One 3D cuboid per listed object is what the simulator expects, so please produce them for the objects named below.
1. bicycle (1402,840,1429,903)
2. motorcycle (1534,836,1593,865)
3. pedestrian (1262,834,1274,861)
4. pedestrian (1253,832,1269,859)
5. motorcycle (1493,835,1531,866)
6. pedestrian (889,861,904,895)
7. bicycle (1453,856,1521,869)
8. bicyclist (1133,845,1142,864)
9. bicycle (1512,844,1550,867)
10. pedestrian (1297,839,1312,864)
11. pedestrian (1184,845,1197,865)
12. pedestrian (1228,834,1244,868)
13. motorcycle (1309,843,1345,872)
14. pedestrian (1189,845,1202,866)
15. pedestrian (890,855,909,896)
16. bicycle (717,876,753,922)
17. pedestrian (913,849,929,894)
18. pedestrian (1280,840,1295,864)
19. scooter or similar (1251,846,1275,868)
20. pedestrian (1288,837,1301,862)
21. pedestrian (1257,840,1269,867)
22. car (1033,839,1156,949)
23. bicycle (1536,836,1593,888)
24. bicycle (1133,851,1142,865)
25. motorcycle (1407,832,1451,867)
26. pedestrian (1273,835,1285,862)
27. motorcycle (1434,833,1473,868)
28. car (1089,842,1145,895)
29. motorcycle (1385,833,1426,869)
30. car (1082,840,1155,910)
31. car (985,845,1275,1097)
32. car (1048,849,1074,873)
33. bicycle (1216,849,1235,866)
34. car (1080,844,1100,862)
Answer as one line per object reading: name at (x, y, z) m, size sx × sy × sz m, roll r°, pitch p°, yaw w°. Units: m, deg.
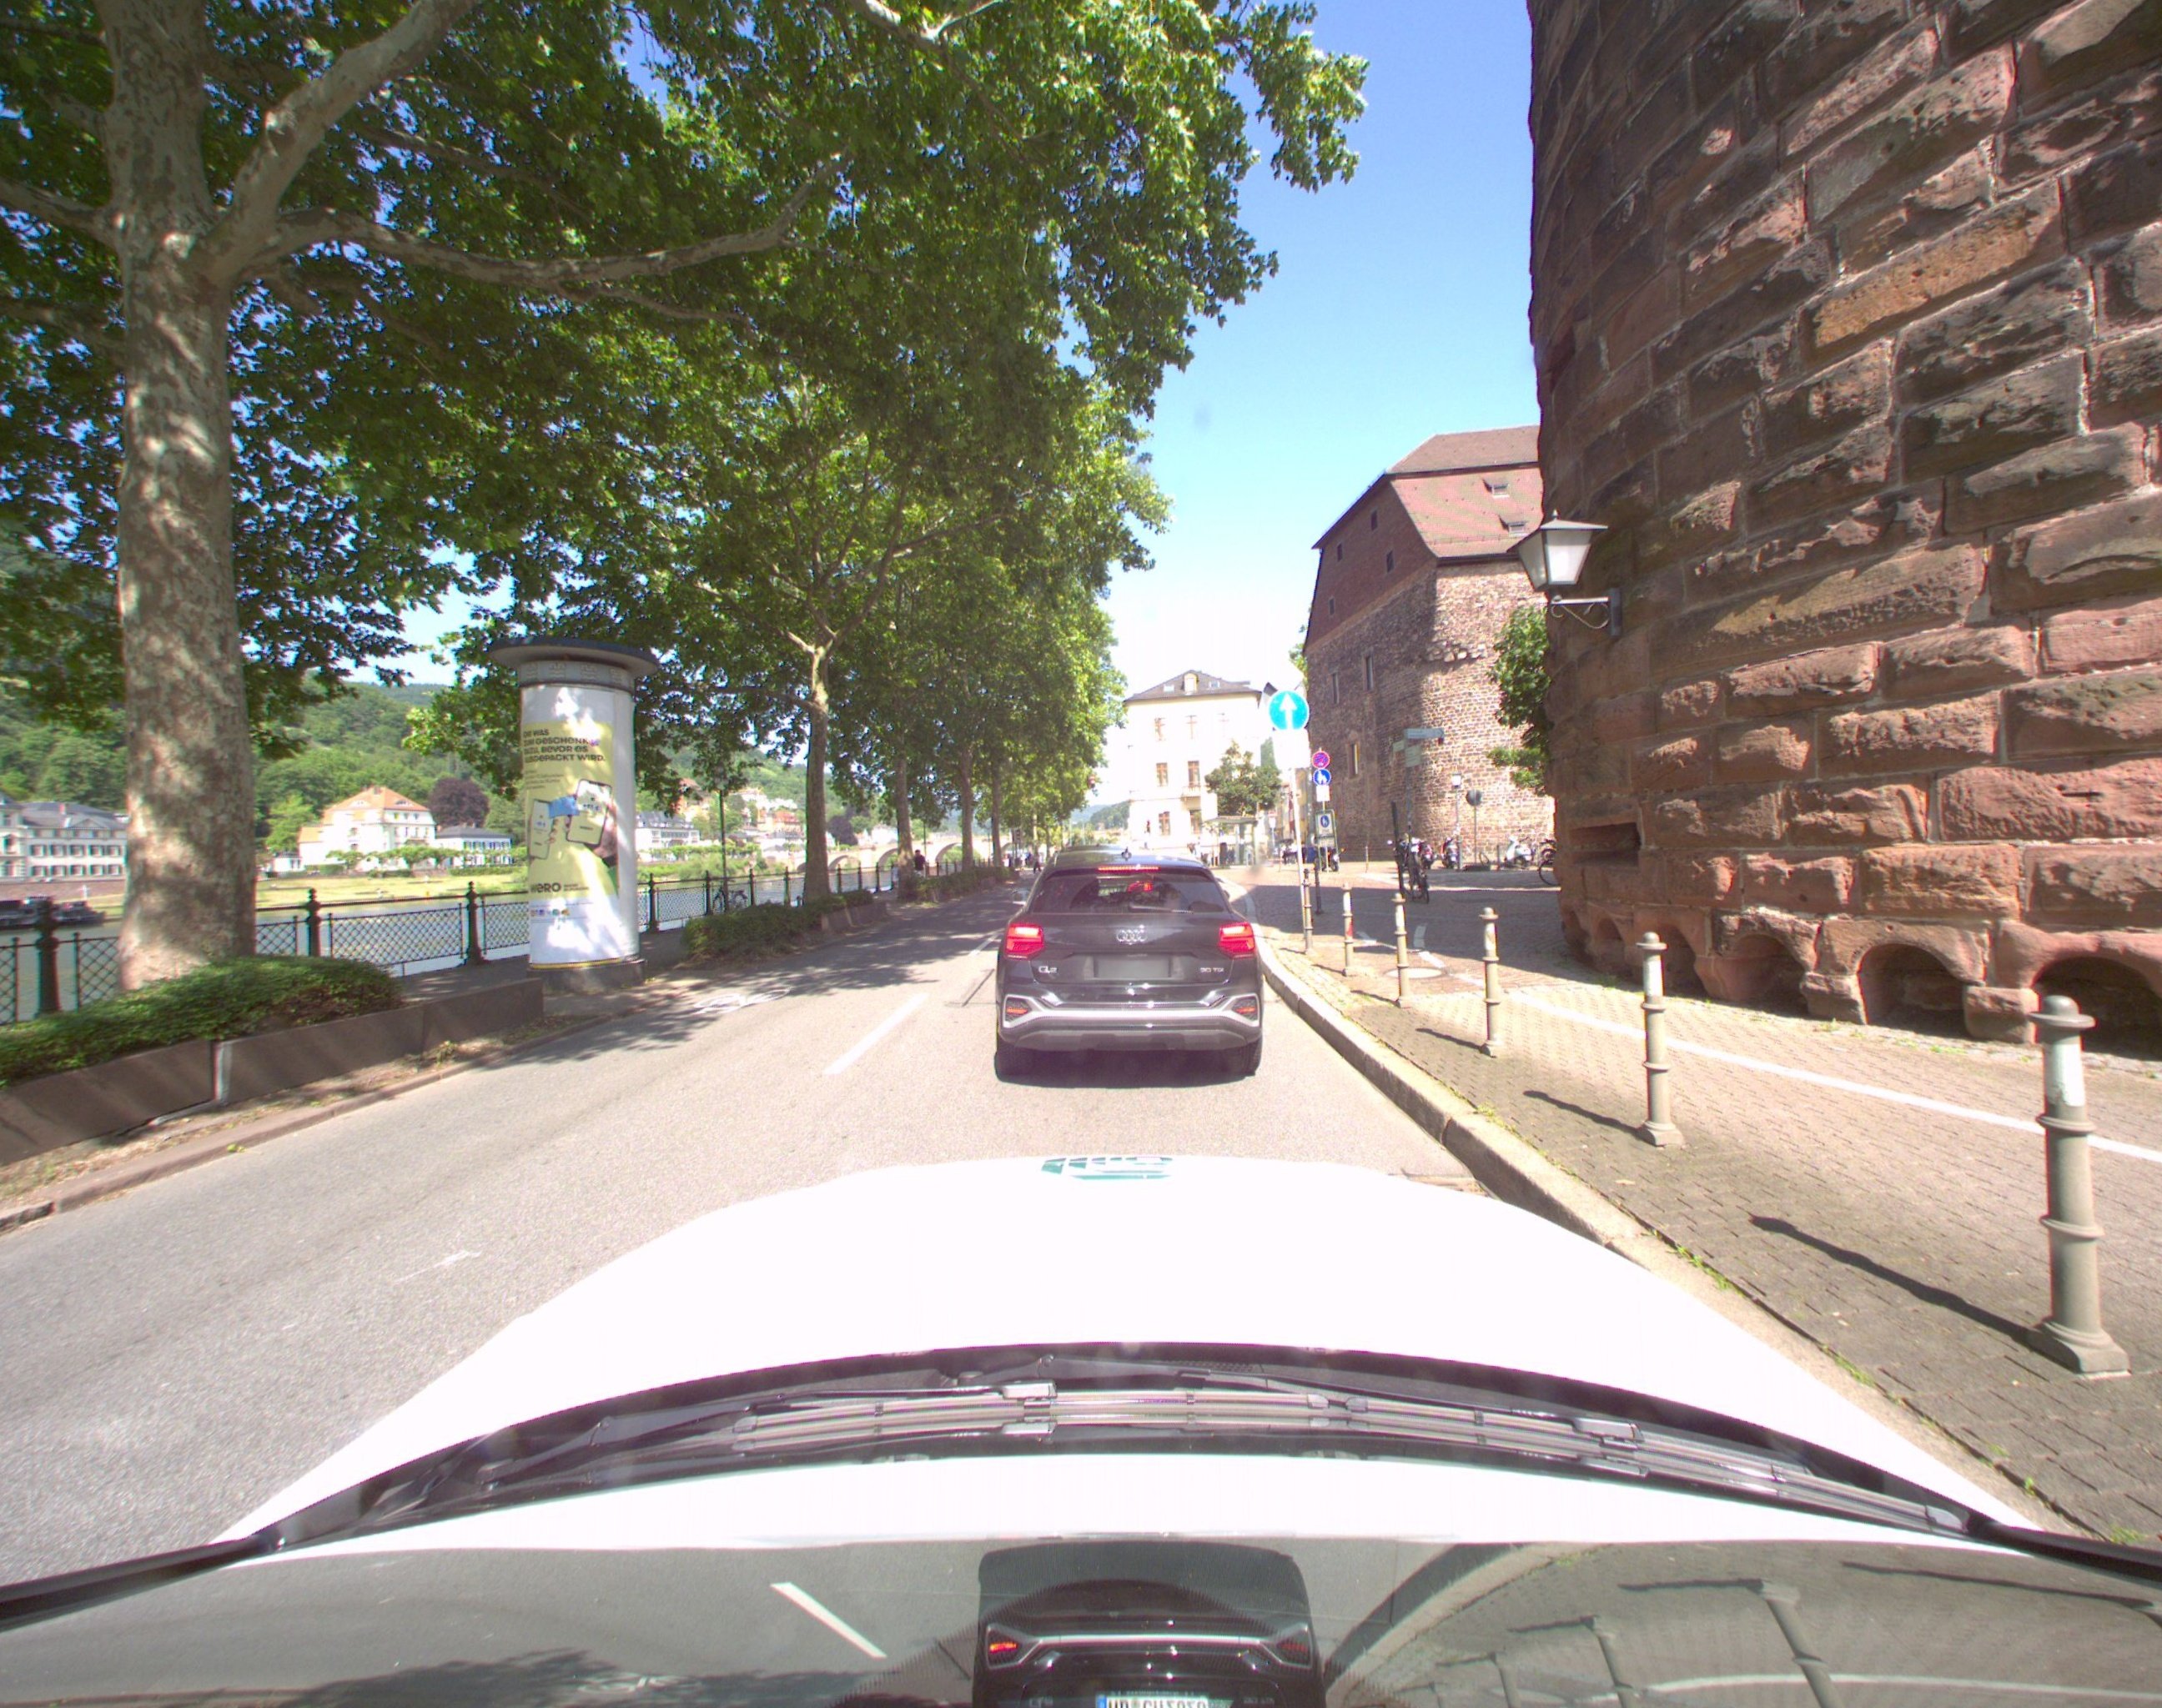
bicycle at (6.863, 0.328, 16.746) m, size 0.192 × 1.203 × 1.775 m, roll -1°, pitch 1°, yaw 13°
motorcycle at (18.256, -0.130, 30.826) m, size 1.854 × 1.054 × 0.481 m, roll -1°, pitch -1°, yaw 9°
pedestrian at (17.004, -0.582, 74.022) m, size 0.876 × 2.358 × 0.745 m, roll 0°, pitch -1°, yaw 1°
pedestrian at (13.587, -0.649, 61.531) m, size 0.939 × 2.014 × 0.805 m, roll 0°, pitch -1°, yaw -8°
motorcycle at (15.432, -0.106, 29.209) m, size 0.505 × 1.073 × 1.842 m, roll 0°, pitch -1°, yaw 4°
pedestrian at (-7.549, 0.970, 33.245) m, size 0.476 × 1.362 × 0.418 m, roll 1°, pitch 0°, yaw 5°
bicycle at (13.583, 0.281, 27.315) m, size 1.914 × 0.381 × 0.921 m, roll -2°, pitch -1°, yaw 16°
bicyclist at (4.312, 0.070, 62.400) m, size 0.604 × 1.450 × 0.590 m, roll 0°, pitch -1°, yaw -3°
bicycle at (16.625, 0.047, 30.142) m, size 0.352 × 0.820 × 1.926 m, roll 0°, pitch 1°, yaw 1°
pedestrian at (14.950, -0.180, 54.557) m, size 0.688 × 1.612 × 0.892 m, roll -4°, pitch 0°, yaw 1°
pedestrian at (6.549, 0.065, 48.901) m, size 0.662 × 1.231 × 0.640 m, roll 0°, pitch -1°, yaw -5°
pedestrian at (7.960, -0.160, 41.756) m, size 0.649 × 1.662 × 0.813 m, roll -3°, pitch 0°, yaw 17°
motorcycle at (9.053, 0.117, 30.072) m, size 0.564 × 1.012 × 2.490 m, roll -2°, pitch 0°, yaw 1°
pedestrian at (6.755, 0.083, 48.159) m, size 0.662 × 1.211 × 0.640 m, roll 0°, pitch -1°, yaw -5°
pedestrian at (-7.682, 0.891, 34.513) m, size 0.599 × 1.685 × 0.583 m, roll -2°, pitch 0°, yaw 0°
bicycle at (-8.891, 1.149, 20.959) m, size 0.358 × 1.091 × 1.296 m, roll 1°, pitch 0°, yaw 1°
pedestrian at (-6.759, 0.746, 34.374) m, size 0.532 × 1.887 × 0.437 m, roll -1°, pitch 0°, yaw 1°
pedestrian at (12.839, -0.097, 50.631) m, size 0.637 × 1.444 × 0.797 m, roll -4°, pitch 0°, yaw -5°
scooter or similar at (8.798, 0.147, 39.343) m, size 1.085 × 1.066 × 0.323 m, roll 0°, pitch -1°, yaw -1°
pedestrian at (14.284, -0.295, 54.510) m, size 0.605 × 1.619 × 0.711 m, roll -4°, pitch -1°, yaw 1°
pedestrian at (9.506, -0.017, 42.535) m, size 0.555 × 1.385 × 0.588 m, roll 0°, pitch -1°, yaw 4°
car at (0.256, 0.579, 13.575) m, size 1.786 × 1.595 × 3.400 m, roll 0°, pitch 0°, yaw 2°
bicycle at (11.532, 0.176, 19.488) m, size 0.444 × 1.162 × 1.733 m, roll -2°, pitch 0°, yaw 5°
bicycle at (4.322, 0.311, 62.412) m, size 0.436 × 1.086 × 1.675 m, roll 0°, pitch -1°, yaw -2°
motorcycle at (12.804, -0.137, 30.032) m, size 0.672 × 1.235 × 2.313 m, roll 0°, pitch -1°, yaw 2°
pedestrian at (17.941, -0.497, 73.880) m, size 0.876 × 2.358 × 0.745 m, roll 0°, pitch -1°, yaw 1°
motorcycle at (13.715, -0.123, 30.060) m, size 0.544 × 1.235 × 2.031 m, roll 0°, pitch -1°, yaw 2°
car at (1.215, 0.465, 28.331) m, size 1.788 × 1.682 × 4.002 m, roll -1°, pitch 0°, yaw 2°
motorcycle at (11.898, -0.098, 29.931) m, size 0.653 × 1.266 × 2.201 m, roll -1°, pitch -1°, yaw 2°
car at (0.979, 0.508, 21.852) m, size 1.704 × 1.609 × 3.656 m, roll -4°, pitch 0°, yaw 2°
car at (0.350, 0.690, 6.725) m, size 1.736 × 1.509 × 3.649 m, roll 0°, pitch 0°, yaw 2°
car at (-1.510, 0.499, 63.006) m, size 1.667 × 1.660 × 4.224 m, roll -5°, pitch 0°, yaw 1°
bicycle at (8.801, 0.226, 49.548) m, size 1.187 × 1.016 × 0.178 m, roll 0°, pitch -1°, yaw -17°
car at (1.002, -0.125, 90.767) m, size 1.985 × 1.806 × 4.004 m, roll -4°, pitch 0°, yaw 3°
